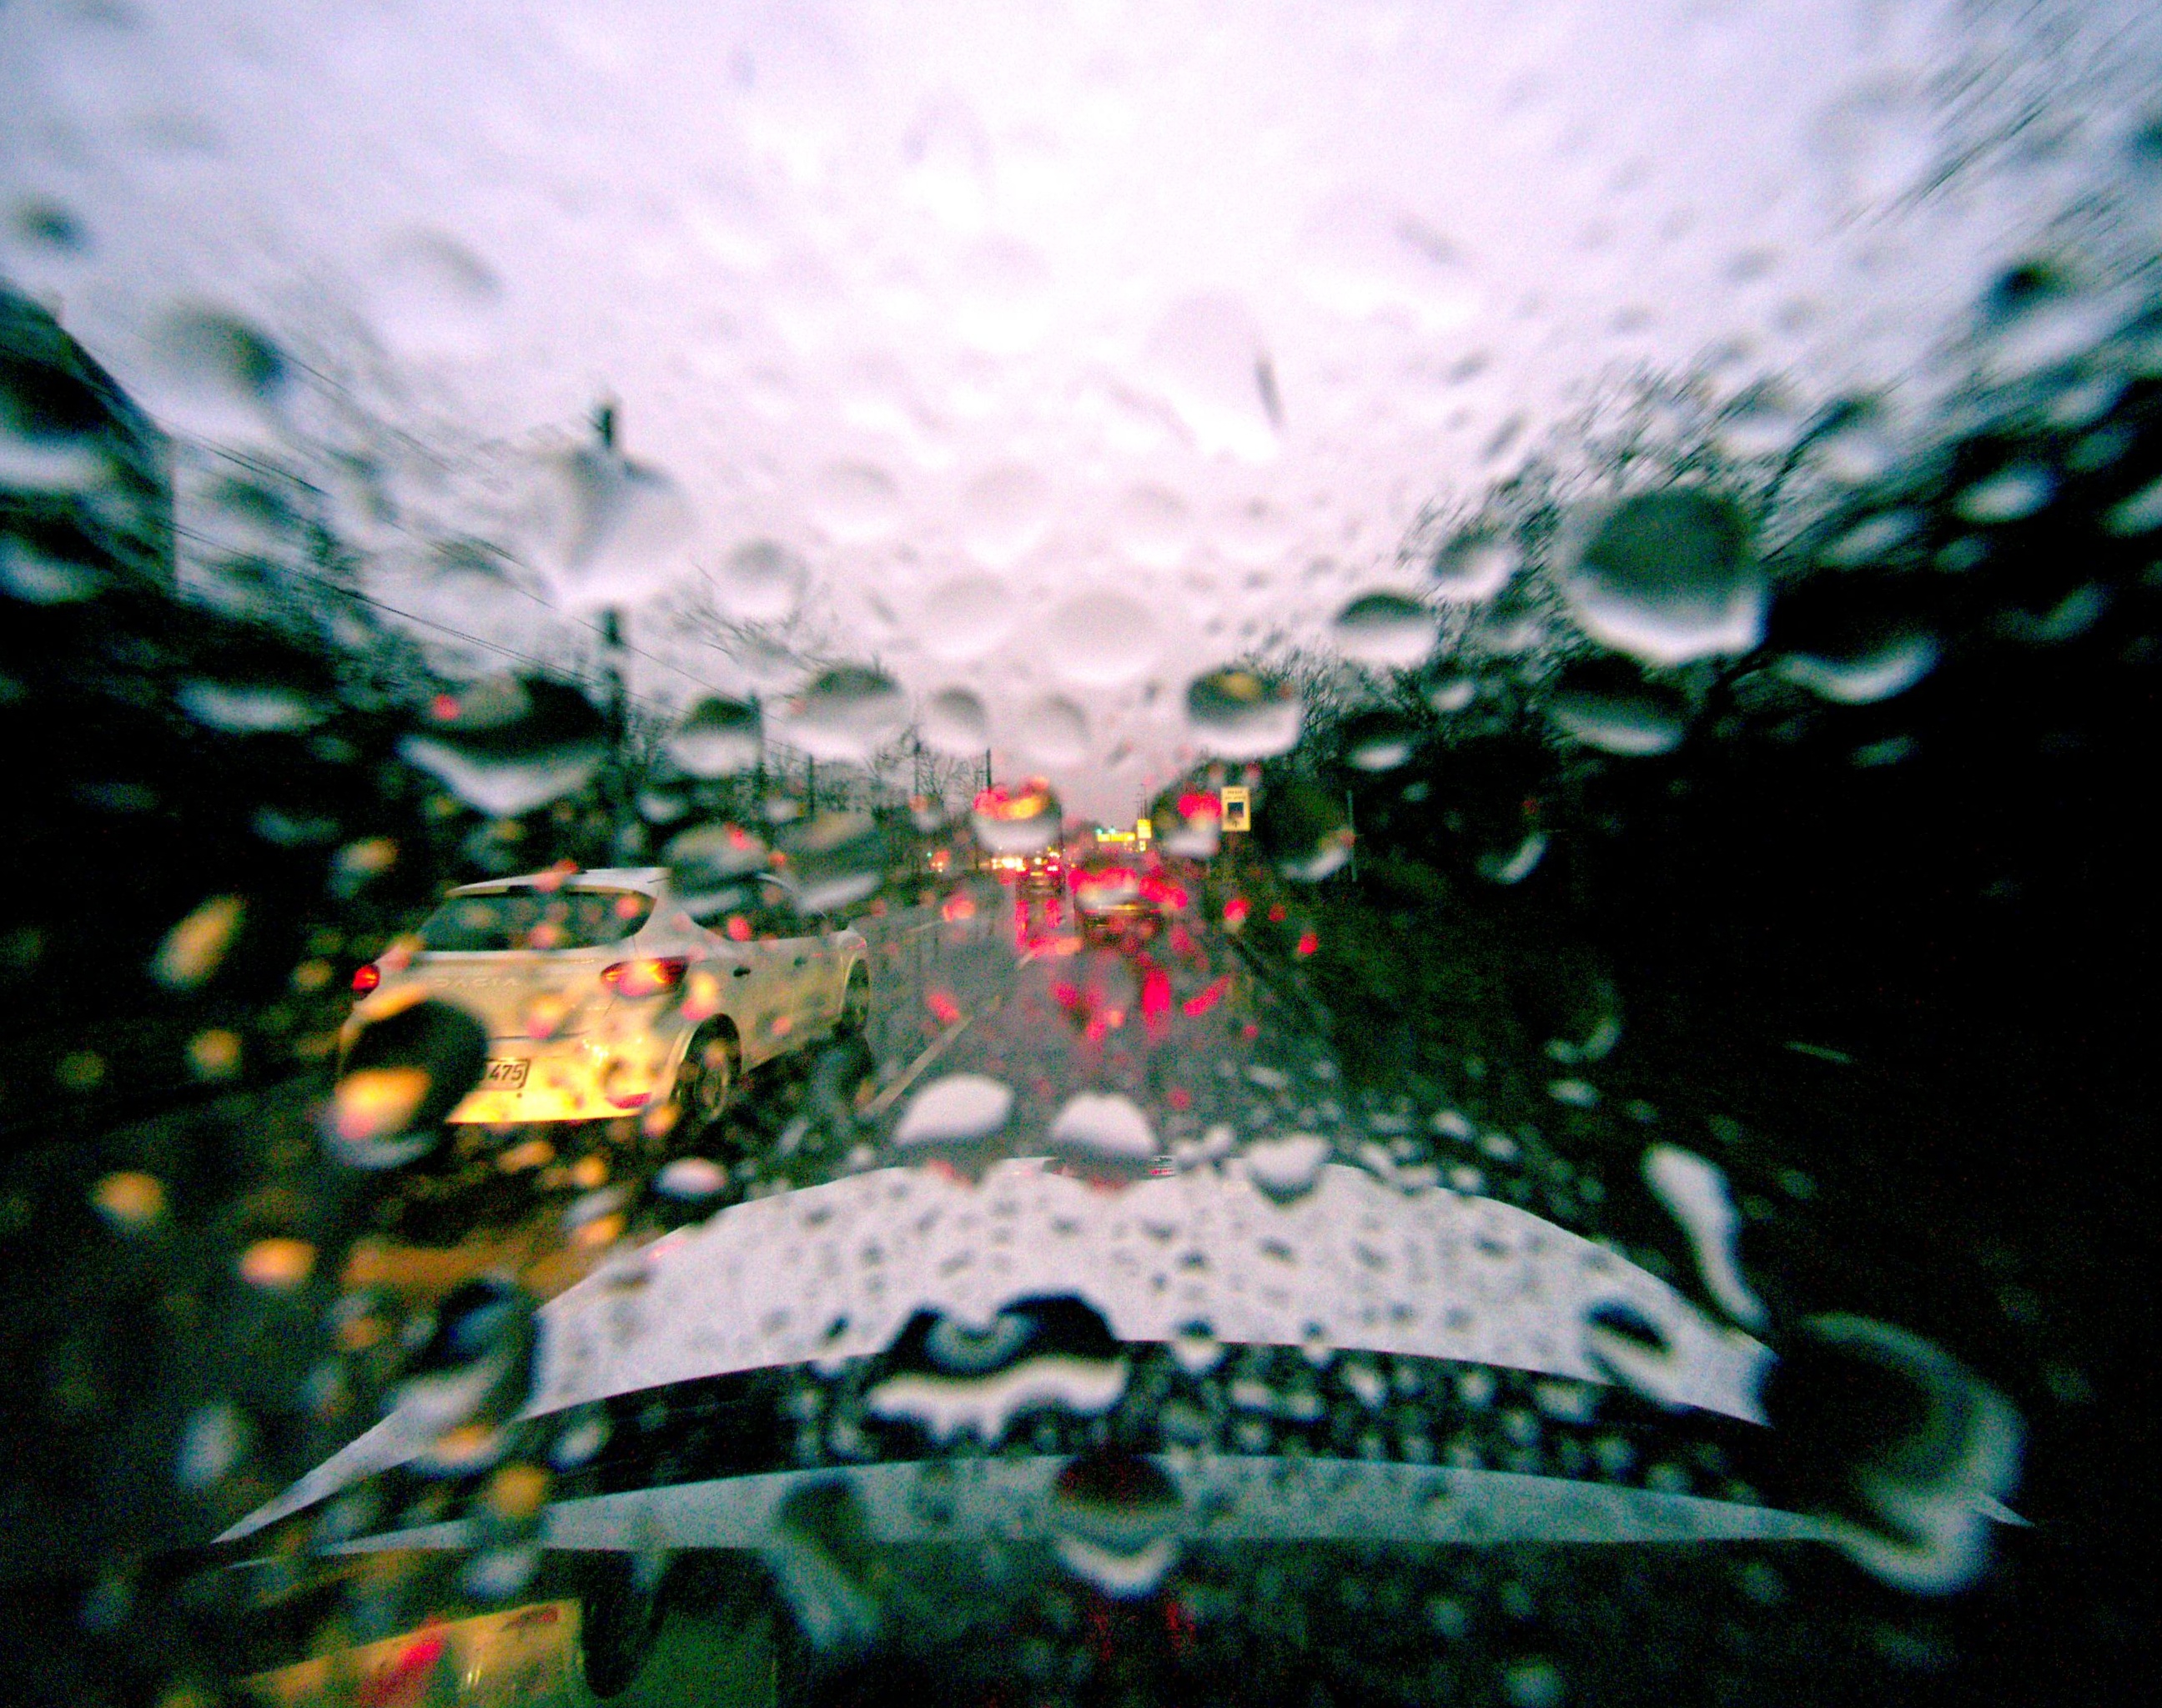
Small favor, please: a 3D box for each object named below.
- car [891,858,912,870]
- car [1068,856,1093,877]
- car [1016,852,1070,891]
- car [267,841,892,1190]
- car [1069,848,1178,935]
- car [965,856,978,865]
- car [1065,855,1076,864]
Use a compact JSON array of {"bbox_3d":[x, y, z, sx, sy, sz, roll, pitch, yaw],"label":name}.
[{"bbox_3d":[-26.321,1.463,119.606,1.985,1.658,4.002,0,-1,3],"label":"car"},{"bbox_3d":[-0.026,0.974,63.973,1.702,1.558,3.998,-1,0,2],"label":"car"},{"bbox_3d":[-1.548,0.693,34.363,1.872,1.459,4.003,-1,0,2],"label":"car"},{"bbox_3d":[-2.735,0.733,5.716,1.702,1.525,4.136,-1,0,2],"label":"car"},{"bbox_3d":[0.865,0.693,17.069,1.990,1.584,4.002,-1,0,2],"label":"car"},{"bbox_3d":[-21.777,1.300,161.965,1.985,1.658,4.002,0,-1,3],"label":"car"},{"bbox_3d":[-2.209,1.143,171.102,1.985,1.666,3.839,-2,0,3],"label":"car"}]
